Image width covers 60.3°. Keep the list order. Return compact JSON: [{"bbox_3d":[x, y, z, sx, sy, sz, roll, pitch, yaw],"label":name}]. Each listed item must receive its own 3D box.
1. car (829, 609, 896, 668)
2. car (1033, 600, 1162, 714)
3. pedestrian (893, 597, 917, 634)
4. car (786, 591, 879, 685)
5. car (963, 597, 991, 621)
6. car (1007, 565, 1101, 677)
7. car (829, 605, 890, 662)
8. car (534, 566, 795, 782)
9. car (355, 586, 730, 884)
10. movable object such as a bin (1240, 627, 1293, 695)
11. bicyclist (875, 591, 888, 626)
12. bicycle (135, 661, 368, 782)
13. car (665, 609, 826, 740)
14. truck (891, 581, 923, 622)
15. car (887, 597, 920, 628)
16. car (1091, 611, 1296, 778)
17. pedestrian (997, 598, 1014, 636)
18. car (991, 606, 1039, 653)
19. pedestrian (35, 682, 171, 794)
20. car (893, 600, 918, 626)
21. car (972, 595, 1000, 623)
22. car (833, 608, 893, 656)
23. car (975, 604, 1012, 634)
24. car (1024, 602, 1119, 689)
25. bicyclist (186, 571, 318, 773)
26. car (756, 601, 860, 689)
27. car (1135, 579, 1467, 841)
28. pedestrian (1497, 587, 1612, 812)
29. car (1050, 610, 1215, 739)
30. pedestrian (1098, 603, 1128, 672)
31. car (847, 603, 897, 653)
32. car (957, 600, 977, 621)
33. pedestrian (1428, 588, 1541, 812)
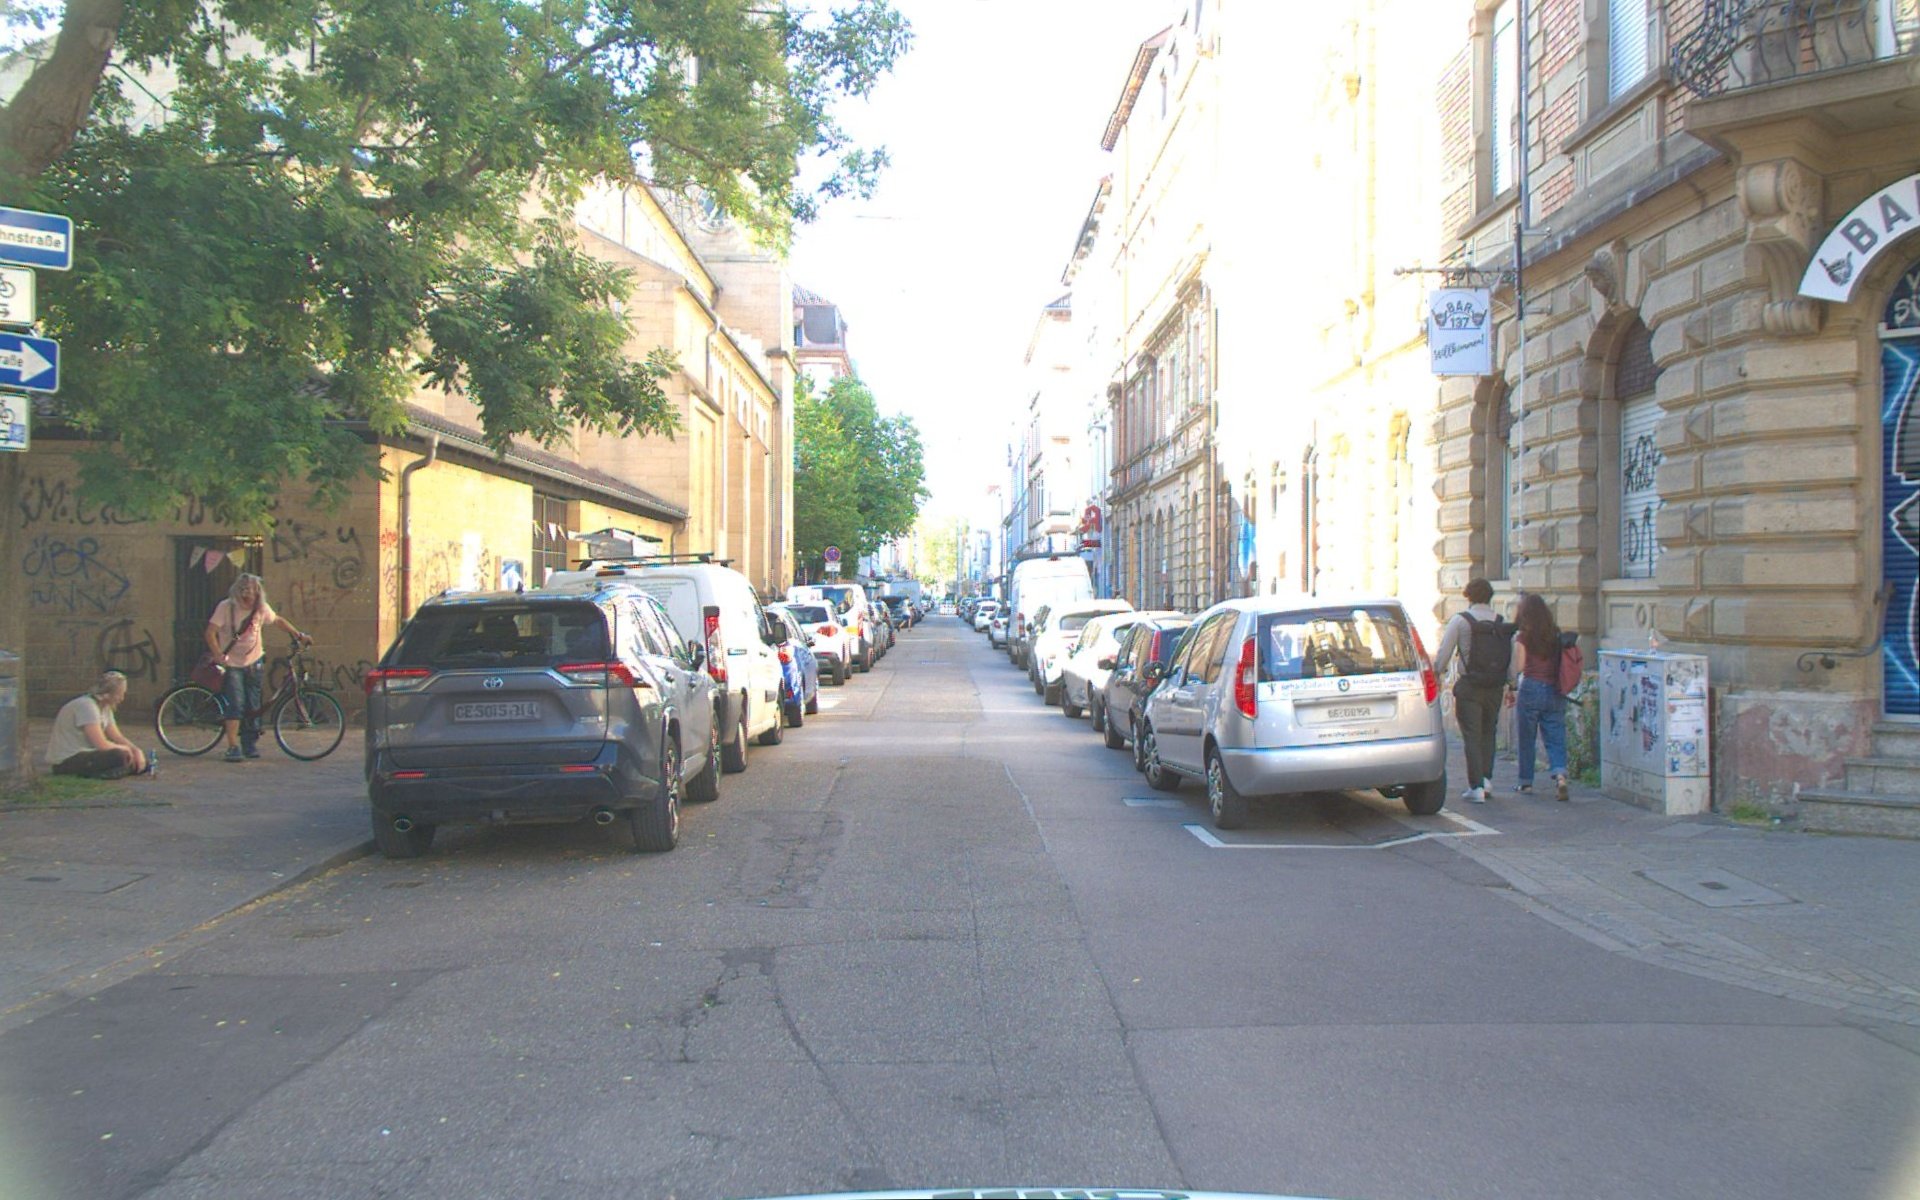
[{"bbox_3d":[-2.618,1.014,45.085,1.582,1.477,3.950,-2,0,-1],"label":"car"},{"bbox_3d":[2.227,0.900,27.748,1.771,1.719,4.214,2,0,0],"label":"car"},{"bbox_3d":[-2.795,0.776,83.829,0.768,1.875,1.010,1,0,30],"label":"pedestrian"},{"bbox_3d":[-2.908,0.824,38.513,1.826,1.991,4.609,-2,0,-1],"label":"car"},{"bbox_3d":[1.224,0.651,120.715,1.953,1.660,4.000,2,0,0],"label":"car"},{"bbox_3d":[2.328,0.481,42.431,2.026,2.656,5.887,1,0,0],"label":"car"},{"bbox_3d":[-2.959,0.969,49.473,1.639,1.586,3.999,-1,0,-1],"label":"car"},{"bbox_3d":[-2.832,0.632,16.827,1.807,1.895,4.465,0,0,0],"label":"car"},{"bbox_3d":[-2.669,0.757,11.555,1.706,1.675,4.287,0,0,-3],"label":"car"},{"bbox_3d":[5.024,0.991,27.109,0.543,1.071,0.596,-3,0,-34],"label":"movable object such as a bin"},{"bbox_3d":[-3.857,0.402,81.608,0.593,1.717,0.885,0,0,-1],"label":"bicyclist"},{"bbox_3d":[-6.413,1.081,15.012,1.724,0.939,0.827,3,0,8],"label":"bicycle"},{"bbox_3d":[-2.776,0.920,22.136,1.653,1.502,3.859,-2,0,-1],"label":"car"},{"bbox_3d":[-4.377,0.115,137.094,2.480,3.339,6.994,0,0,0],"label":"truck"},{"bbox_3d":[-3.333,0.727,98.676,1.837,1.828,4.000,0,0,0],"label":"car"},{"bbox_3d":[2.383,0.915,17.660,1.504,1.539,3.680,-1,0,-2],"label":"car"},{"bbox_3d":[2.257,0.835,81.661,0.669,1.875,0.692,1,0,-12],"label":"pedestrian"},{"bbox_3d":[1.918,1.009,58.510,1.570,1.531,4.000,1,0,1],"label":"car"},{"bbox_3d":[-6.733,1.069,13.036,0.904,0.792,0.697,0,0,-25],"label":"pedestrian"},{"bbox_3d":[-3.958,0.950,120.753,1.837,1.828,3.999,0,0,-2],"label":"car"},{"bbox_3d":[1.691,0.585,107.443,1.733,1.771,4.000,0,0,0],"label":"car"},{"bbox_3d":[-3.166,1.022,54.627,1.537,1.422,3.809,-3,0,2],"label":"car"},{"bbox_3d":[1.746,0.966,86.938,1.859,1.514,3.869,0,0,0],"label":"car"},{"bbox_3d":[2.230,0.879,33.933,1.653,1.671,3.924,0,0,-1],"label":"car"},{"bbox_3d":[-6.418,0.637,15.021,0.788,1.753,0.692,3,0,8],"label":"bicyclist"},{"bbox_3d":[-2.949,0.845,32.714,1.707,1.614,3.868,0,0,0],"label":"car"},{"bbox_3d":[2.525,0.737,13.176,1.669,1.744,3.936,-1,0,-2],"label":"car"},{"bbox_3d":[4.534,0.735,12.648,0.562,1.650,0.734,-1,0,-3],"label":"pedestrian"},{"bbox_3d":[2.295,0.955,22.890,1.541,1.552,3.905,2,0,-4],"label":"car"},{"bbox_3d":[4.051,0.978,43.868,0.627,1.803,0.678,2,-1,-6],"label":"pedestrian"},{"bbox_3d":[-3.126,0.982,59.321,1.567,1.642,3.807,-2,0,-1],"label":"car"},{"bbox_3d":[0.714,0.996,163.230,1.953,2.049,4.000,0,0,0],"label":"car"},{"bbox_3d":[3.957,0.733,12.513,0.579,1.632,0.727,-1,0,-3],"label":"pedestrian"}]
